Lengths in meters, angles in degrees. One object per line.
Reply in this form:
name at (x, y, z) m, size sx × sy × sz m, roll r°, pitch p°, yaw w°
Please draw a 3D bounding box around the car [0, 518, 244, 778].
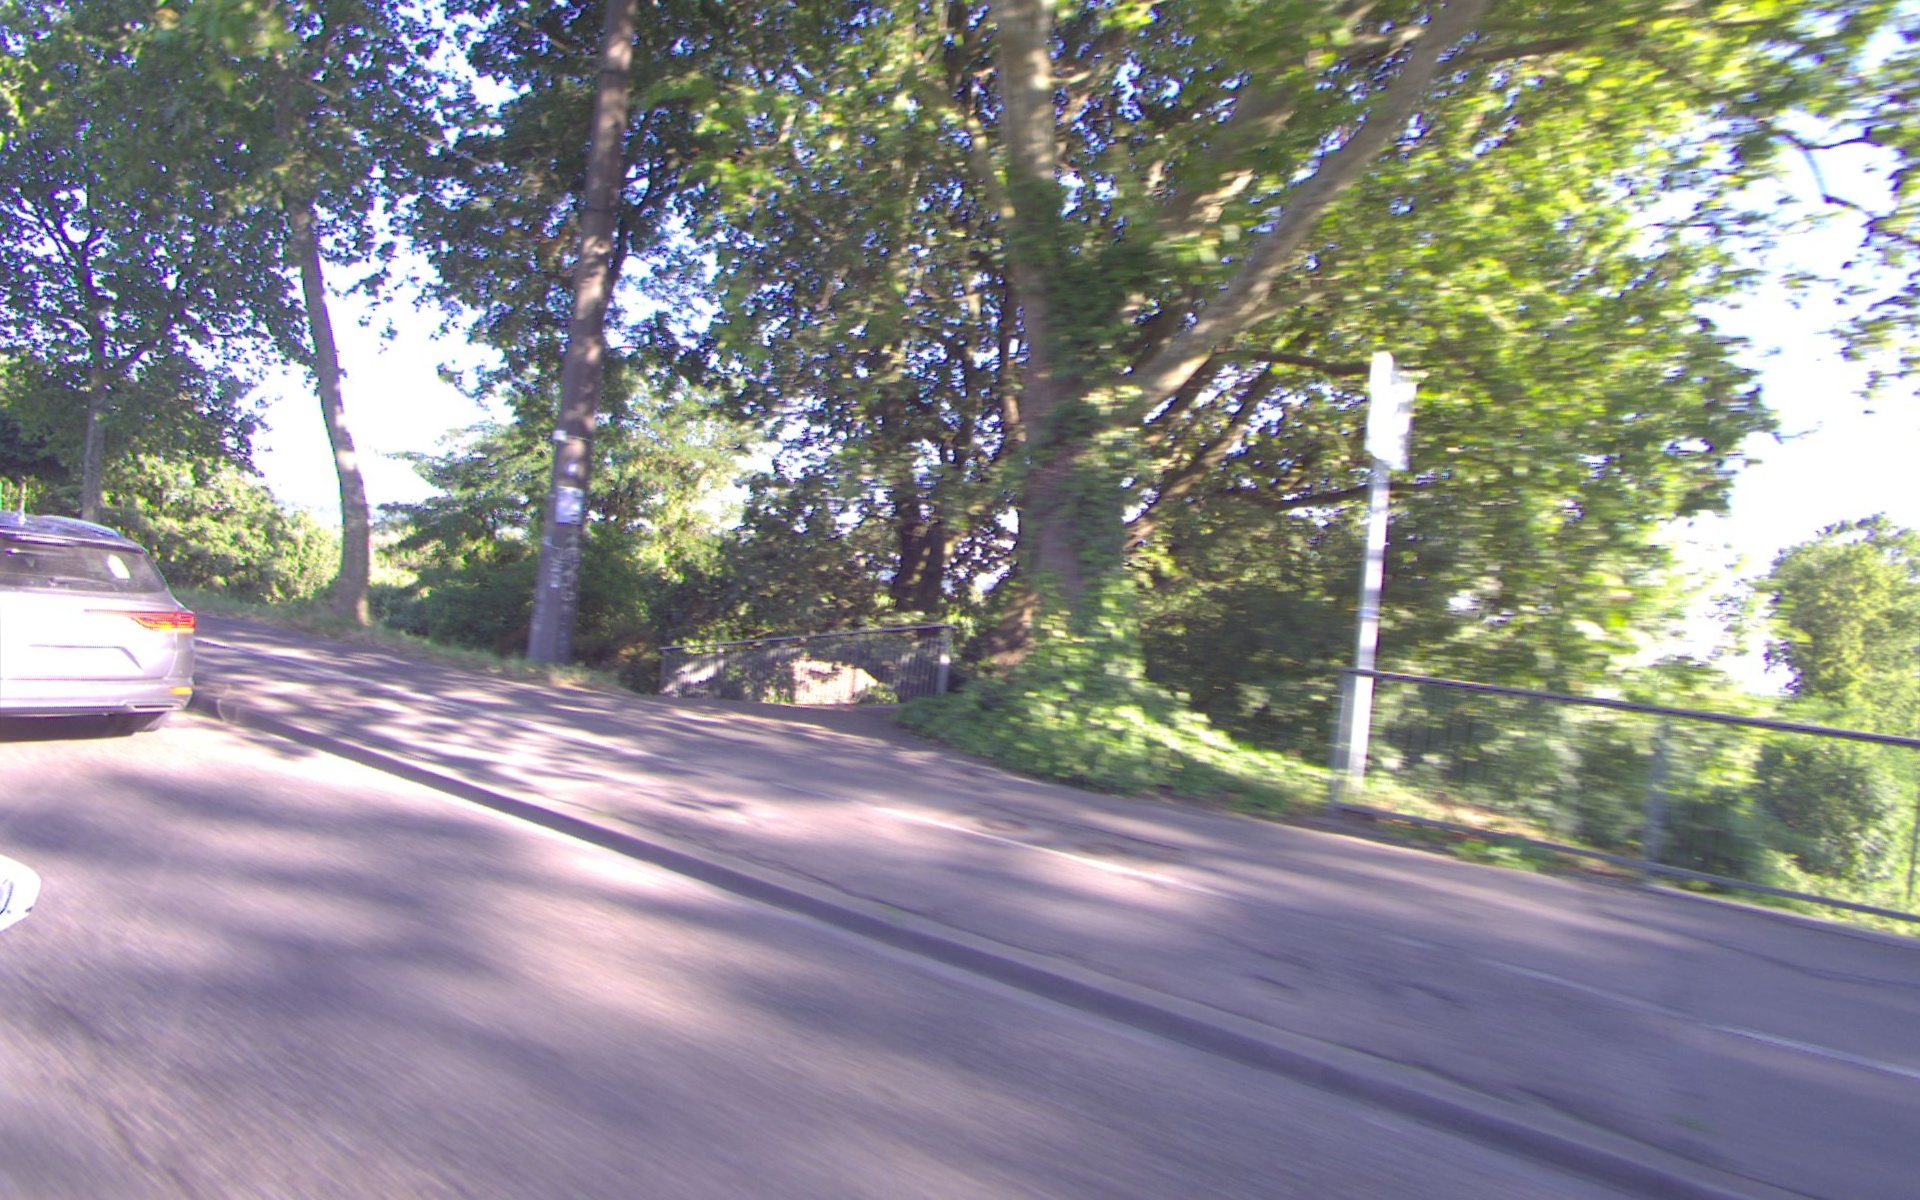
car at (-7.265, 0.114, 7.154) m, size 4.590 × 1.485 × 1.868 m, roll 5°, pitch -1°, yaw 32°
